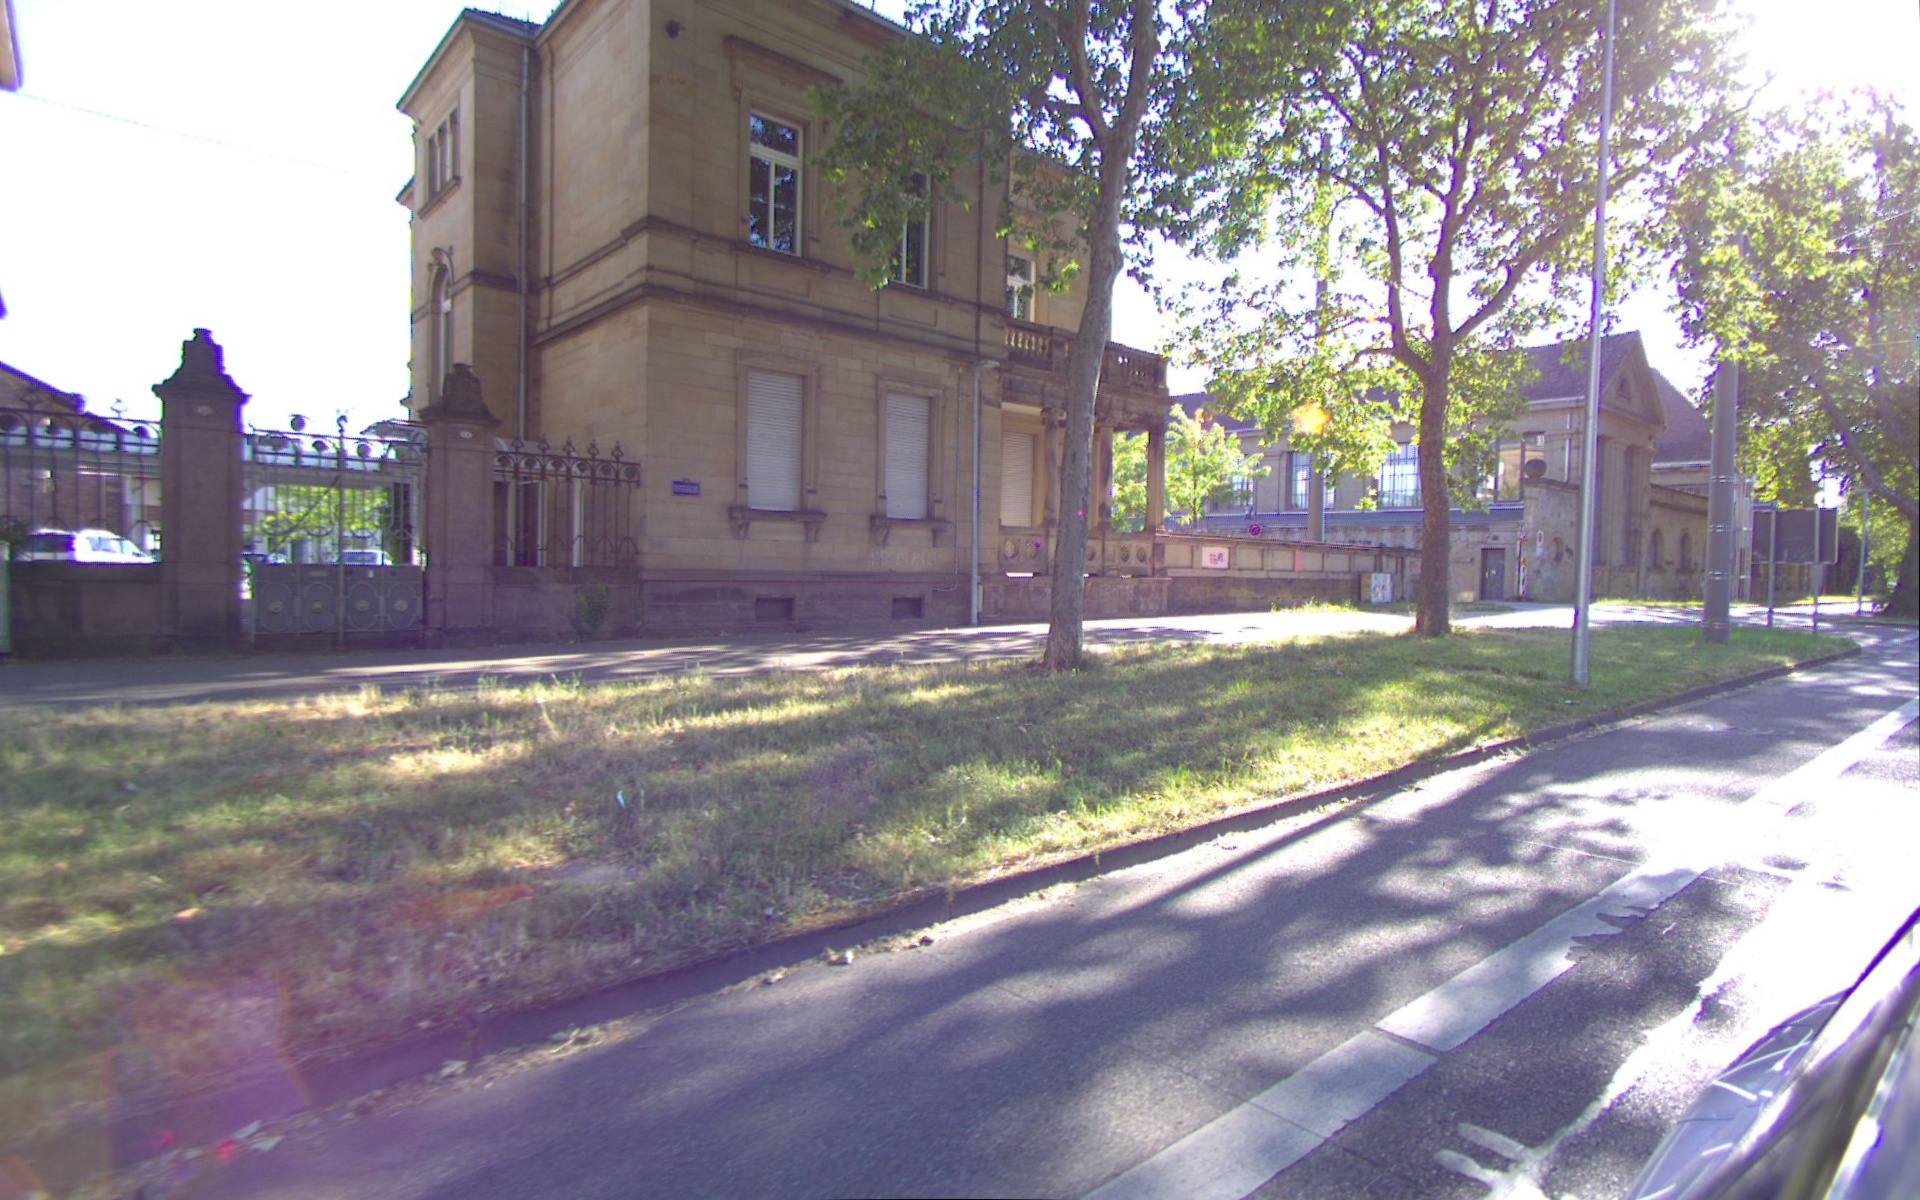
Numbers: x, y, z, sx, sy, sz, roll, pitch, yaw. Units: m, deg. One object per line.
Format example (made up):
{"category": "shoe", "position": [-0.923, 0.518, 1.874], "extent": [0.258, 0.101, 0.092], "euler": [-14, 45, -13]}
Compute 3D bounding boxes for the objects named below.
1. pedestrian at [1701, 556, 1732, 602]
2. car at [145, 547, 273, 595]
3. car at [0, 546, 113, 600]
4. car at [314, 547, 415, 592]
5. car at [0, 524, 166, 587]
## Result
{"category": "pedestrian", "position": [28.312, -0.775, 37.855], "extent": [0.859, 1.682, 0.672], "euler": [0, 3, -40]}
{"category": "car", "position": [-24.170, -0.986, 32.772], "extent": [1.736, 1.437, 4.093], "euler": [1, 3, -11]}
{"category": "car", "position": [-27.188, -0.845, 29.768], "extent": [1.736, 1.437, 4.093], "euler": [1, 3, -11]}
{"category": "car", "position": [-20.502, -1.103, 35.033], "extent": [1.736, 1.437, 4.093], "euler": [1, 3, -11]}
{"category": "car", "position": [-23.120, -1.185, 26.871], "extent": [1.778, 1.504, 4.010], "euler": [1, 3, -15]}
